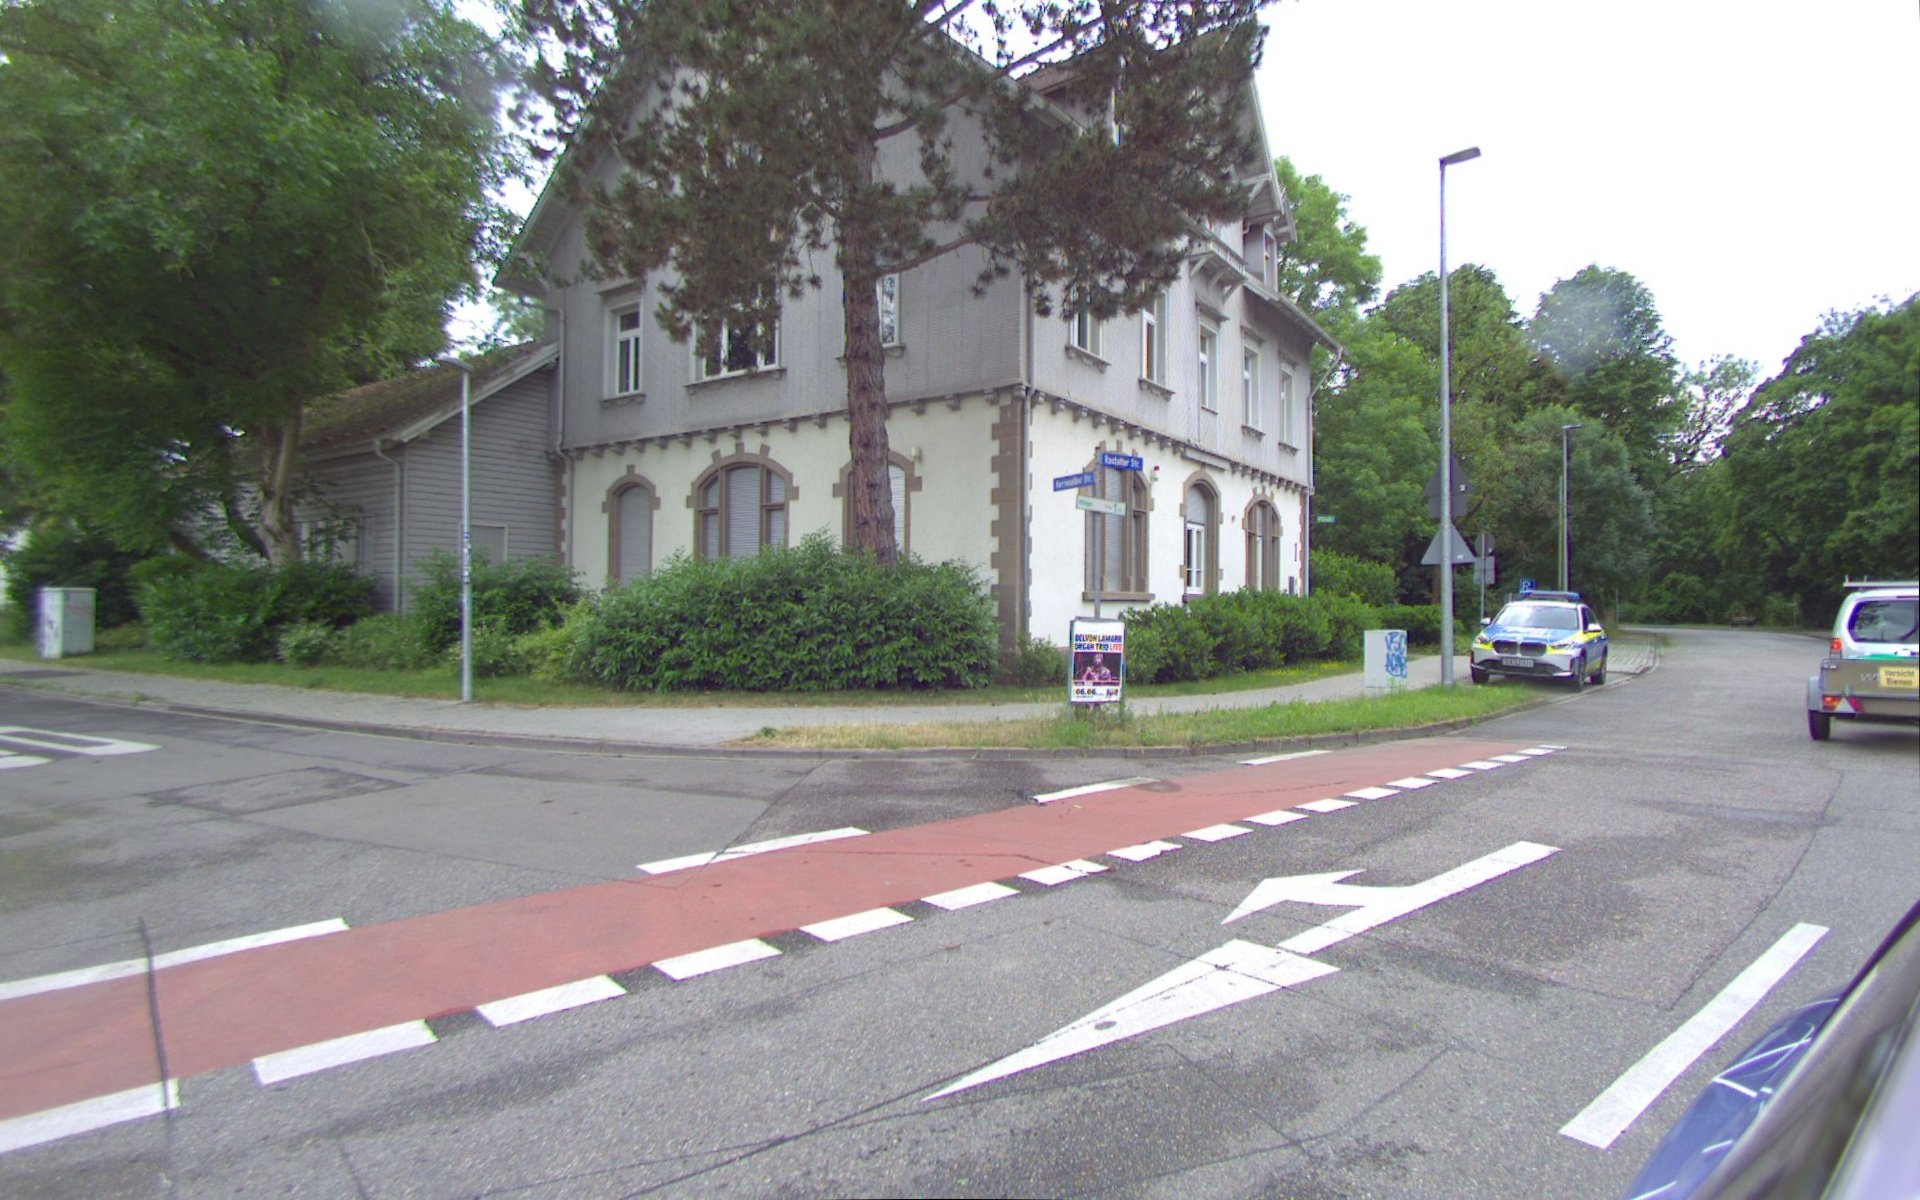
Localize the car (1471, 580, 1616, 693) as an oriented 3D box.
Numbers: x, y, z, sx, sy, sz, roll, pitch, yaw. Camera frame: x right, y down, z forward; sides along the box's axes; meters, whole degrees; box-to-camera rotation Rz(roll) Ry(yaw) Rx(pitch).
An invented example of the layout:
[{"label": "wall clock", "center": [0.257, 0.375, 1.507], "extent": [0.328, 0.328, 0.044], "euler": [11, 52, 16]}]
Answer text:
[{"label": "car", "center": [11.304, 0.614, 19.492], "extent": [1.926, 1.873, 3.947], "euler": [3, 1, 37]}]

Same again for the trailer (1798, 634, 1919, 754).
[{"label": "trailer", "center": [10.444, 0.967, 11.084], "extent": [3.407, 0.998, 1.568], "euler": [-1, 1, -44]}]

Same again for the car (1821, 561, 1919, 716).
[{"label": "car", "center": [13.324, 0.444, 13.497], "extent": [4.147, 1.882, 2.091], "euler": [0, -3, -40]}]
